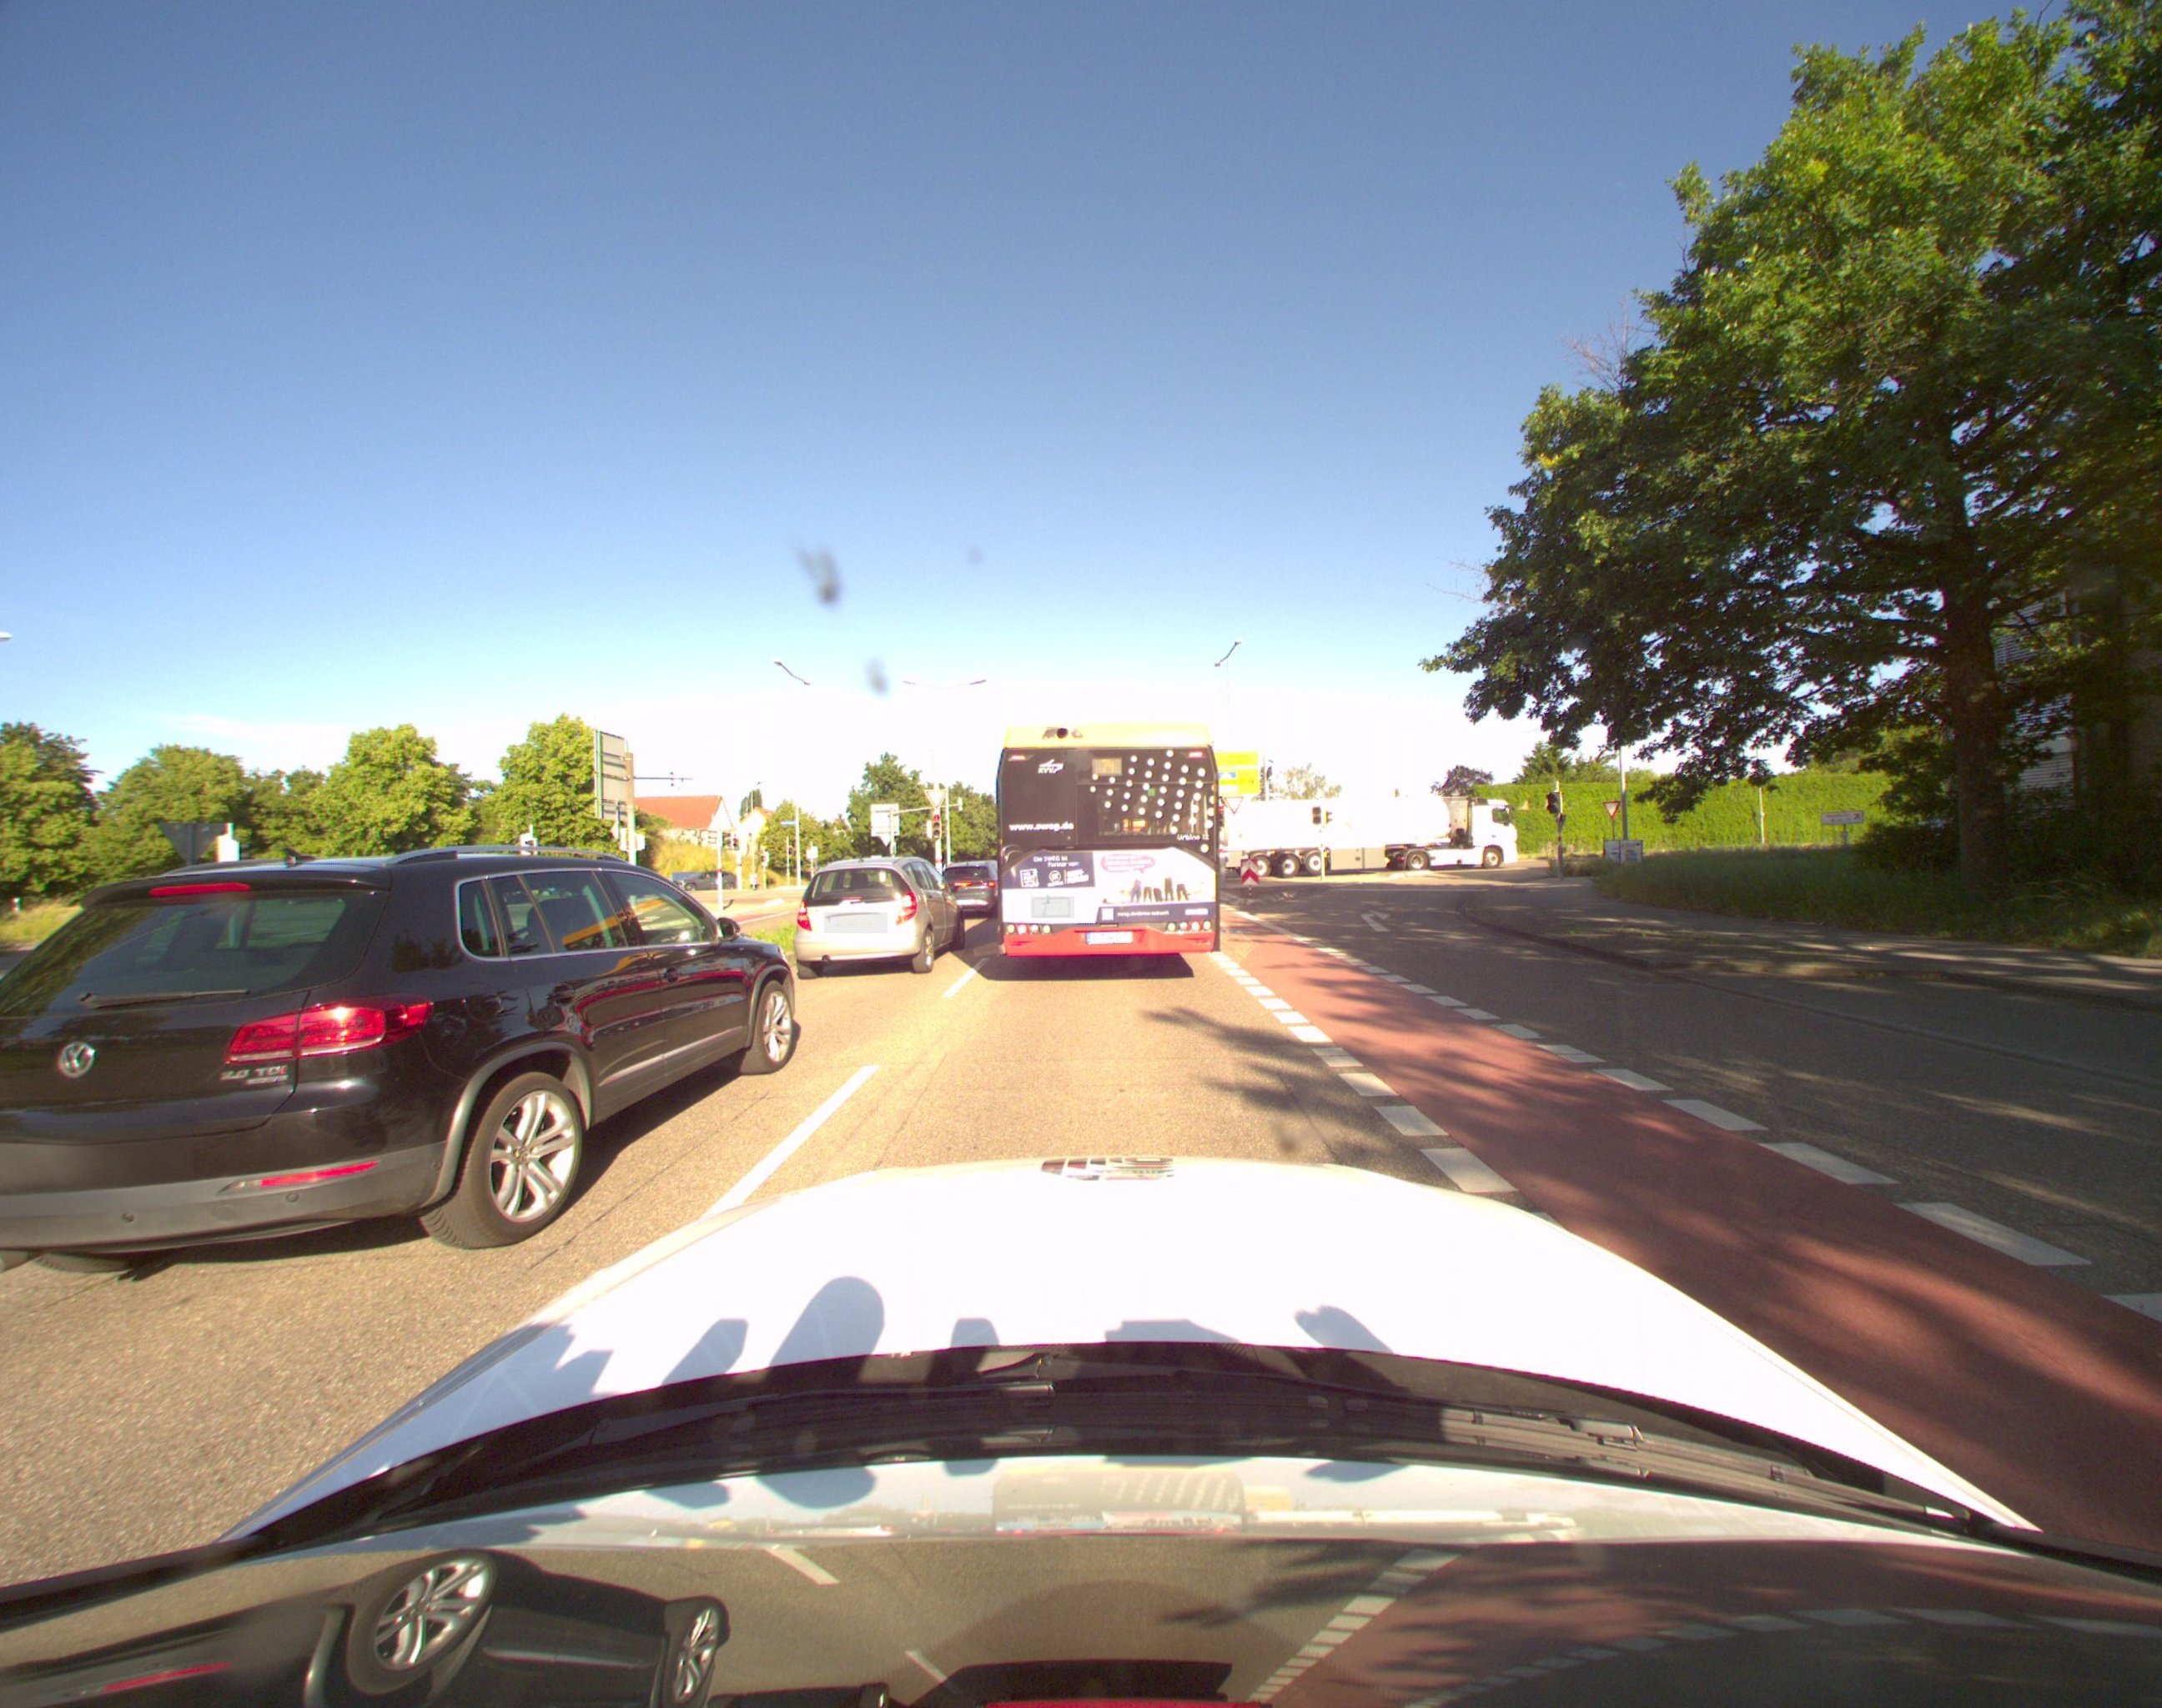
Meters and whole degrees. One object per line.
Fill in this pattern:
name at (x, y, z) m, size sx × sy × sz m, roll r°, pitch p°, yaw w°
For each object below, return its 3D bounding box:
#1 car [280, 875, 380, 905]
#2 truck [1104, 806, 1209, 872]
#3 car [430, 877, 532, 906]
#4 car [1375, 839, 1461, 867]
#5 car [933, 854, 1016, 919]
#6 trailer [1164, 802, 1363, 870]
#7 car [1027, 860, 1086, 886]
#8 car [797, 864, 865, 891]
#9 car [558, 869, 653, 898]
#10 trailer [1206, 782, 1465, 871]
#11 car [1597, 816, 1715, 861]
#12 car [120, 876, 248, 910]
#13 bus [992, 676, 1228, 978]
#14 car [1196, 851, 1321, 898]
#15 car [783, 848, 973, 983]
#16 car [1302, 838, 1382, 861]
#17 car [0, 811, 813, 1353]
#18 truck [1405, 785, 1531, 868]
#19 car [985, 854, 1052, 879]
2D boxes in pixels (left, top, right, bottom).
car at (-45.278, 2.155, 49.167) m, size 3.983 × 1.715 × 1.995 m, roll -1°, pitch -1°, yaw -7°
truck at (4.900, -0.969, 53.456) m, size 6.387 × 3.998 × 2.468 m, roll -2°, pitch 0°, yaw -5°
car at (-30.051, 1.865, 40.882) m, size 3.842 × 1.313 × 1.504 m, roll -1°, pitch -1°, yaw -7°
car at (17.414, -0.039, 42.154) m, size 3.843 × 1.313 × 1.504 m, roll -2°, pitch -1°, yaw -7°
car at (-2.673, 0.798, 21.195) m, size 1.583 × 1.486 × 3.682 m, roll -2°, pitch -1°, yaw 1°
trailer at (12.035, -1.168, 54.104) m, size 12.712 × 4.030 × 2.466 m, roll -2°, pitch 0°, yaw -5°
car at (-1.703, 1.317, 56.180) m, size 3.979 × 1.612 × 1.693 m, roll -2°, pitch 0°, yaw -4°
car at (-16.732, 1.577, 54.611) m, size 3.979 × 1.612 × 1.693 m, roll -2°, pitch 0°, yaw -4°
car at (-24.276, 1.510, 41.693) m, size 3.842 × 1.385 × 1.678 m, roll -1°, pitch -1°, yaw -7°
trailer at (11.779, -1.266, 38.014) m, size 11.456 × 3.696 × 2.391 m, roll -2°, pitch 0°, yaw -5°
car at (17.912, -0.467, 25.381) m, size 3.412 × 1.296 × 1.449 m, roll 0°, pitch -1°, yaw -24°
car at (-49.639, 2.143, 45.148) m, size 4.522 × 1.715 × 1.995 m, roll -1°, pitch -1°, yaw -7°
bus at (0.510, -0.296, 15.086) m, size 2.586 × 3.334 × 11.988 m, roll -1°, pitch 0°, yaw 2°
car at (5.239, 0.601, 24.204) m, size 3.500 × 1.302 × 1.579 m, roll -1°, pitch 1°, yaw 10°
car at (-2.853, 0.766, 12.392) m, size 1.747 × 1.620 × 4.035 m, roll -2°, pitch 1°, yaw 1°
car at (15.251, -0.248, 47.667) m, size 4.148 × 1.302 × 1.573 m, roll -1°, pitch -1°, yaw -2°
car at (-3.176, 0.780, 4.622) m, size 1.814 × 1.673 × 4.004 m, roll -3°, pitch -1°, yaw 1°
truck at (18.276, -1.275, 38.638) m, size 4.792 × 3.695 × 2.407 m, roll -2°, pitch 0°, yaw -4°
car at (-3.790, 0.768, 49.528) m, size 3.980 × 1.442 × 1.563 m, roll -1°, pitch -1°, yaw -5°
